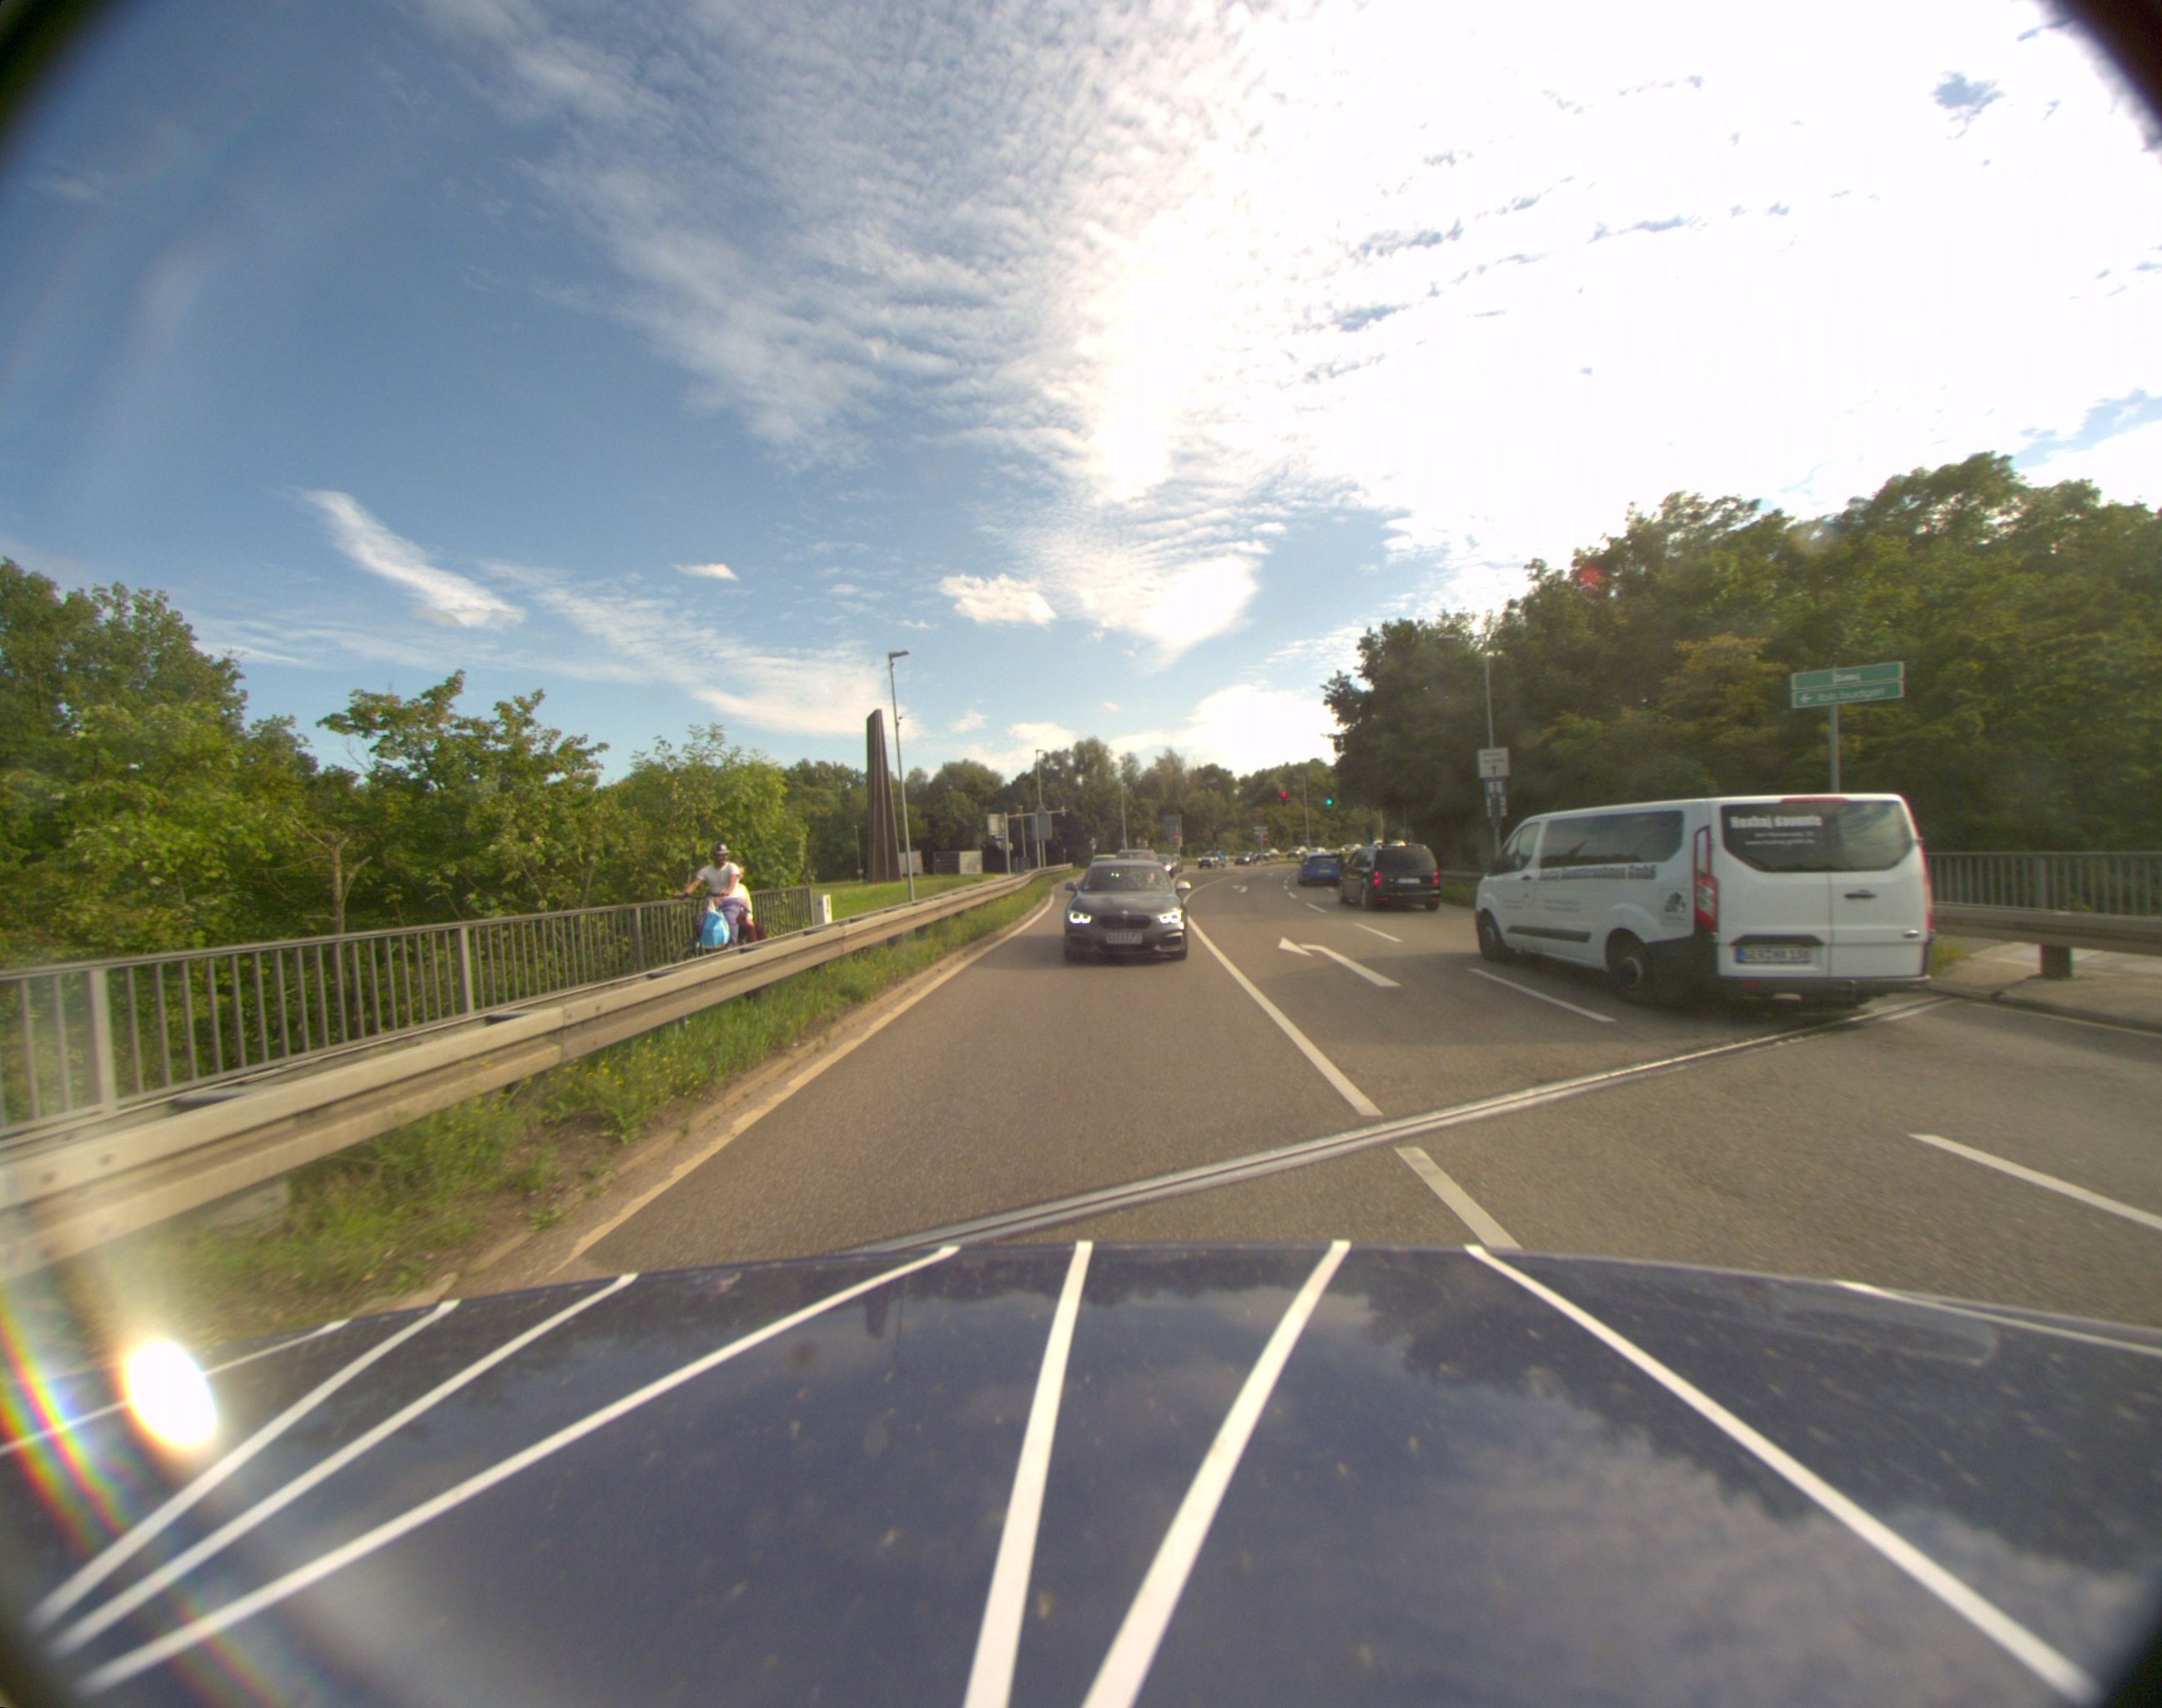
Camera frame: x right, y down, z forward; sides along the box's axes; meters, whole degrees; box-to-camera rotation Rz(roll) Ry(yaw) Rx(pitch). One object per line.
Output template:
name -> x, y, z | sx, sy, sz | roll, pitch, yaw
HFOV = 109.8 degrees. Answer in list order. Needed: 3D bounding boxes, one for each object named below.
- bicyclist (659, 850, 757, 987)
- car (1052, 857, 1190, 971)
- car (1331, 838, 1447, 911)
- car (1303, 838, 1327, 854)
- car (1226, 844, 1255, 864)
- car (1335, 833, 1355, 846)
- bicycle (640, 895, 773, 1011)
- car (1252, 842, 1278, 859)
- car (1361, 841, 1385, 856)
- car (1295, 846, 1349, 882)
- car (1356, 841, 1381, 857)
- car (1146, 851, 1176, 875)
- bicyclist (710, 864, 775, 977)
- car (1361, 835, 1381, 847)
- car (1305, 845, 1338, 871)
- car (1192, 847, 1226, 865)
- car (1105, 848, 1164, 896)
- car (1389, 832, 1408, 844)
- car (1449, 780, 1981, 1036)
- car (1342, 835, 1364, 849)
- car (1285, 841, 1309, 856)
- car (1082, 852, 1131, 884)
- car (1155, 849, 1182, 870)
bicyclist -> -4.439, 0.742, 9.089 | 0.709, 1.548, 0.754 | -2, 2, 4
car -> 0.654, 0.807, 12.031 | 1.785, 1.396, 3.971 | -2, 1, 4
car -> 7.863, 0.446, 19.820 | 1.749, 1.645, 4.455 | -2, 1, 8
car -> 32.079, -1.081, 104.262 | 1.994, 2.002, 4.007 | -1, 1, 34
car -> 17.896, -0.018, 85.174 | 1.995, 2.002, 4.280 | -1, 1, 29
car -> 42.694, -2.313, 122.716 | 1.994, 2.002, 4.007 | -1, 1, 34
bicycle -> -4.371, 1.119, 9.020 | 0.597, 1.114, 1.697 | -2, 1, 4
car -> 24.231, -0.473, 100.112 | 1.994, 2.002, 4.007 | -1, 1, 34
car -> 30.306, -0.594, 78.724 | 1.815, 1.511, 4.834 | -1, 1, 27
car -> 10.529, 0.399, 33.408 | 1.896, 1.439, 4.364 | -2, 1, 13
car -> 25.361, -0.468, 67.060 | 1.626, 1.357, 3.780 | -1, 1, 27
car -> 4.893, 0.533, 46.649 | 1.690, 1.315, 3.785 | -2, 1, 5
bicyclist -> -4.248, 0.818, 9.565 | 0.501, 1.364, 0.538 | -2, 2, 4
car -> 49.316, -2.227, 129.018 | 1.886, 1.850, 4.008 | -1, 2, 41
car -> 15.223, 0.239, 48.021 | 1.816, 1.511, 4.770 | -1, 1, 18
car -> 12.816, 0.187, 75.789 | 1.995, 1.591, 4.288 | -1, 1, 28
car -> 1.966, 0.585, 26.974 | 1.818, 1.498, 4.393 | -2, 1, 7
car -> 57.222, -2.850, 137.002 | 1.994, 2.002, 4.007 | -1, 2, 40
car -> 6.144, 0.410, 8.445 | 1.989, 1.953, 5.049 | -2, 1, 5
car -> 41.031, -1.784, 114.544 | 1.994, 2.002, 4.007 | -1, 1, 35
car -> 30.913, -0.739, 108.674 | 1.994, 2.002, 4.007 | -1, 1, 34
car -> 1.283, 0.640, 36.771 | 1.817, 1.396, 4.393 | -2, 1, 9
car -> 6.971, 0.408, 60.028 | 1.638, 1.543, 3.744 | -1, 1, 14
